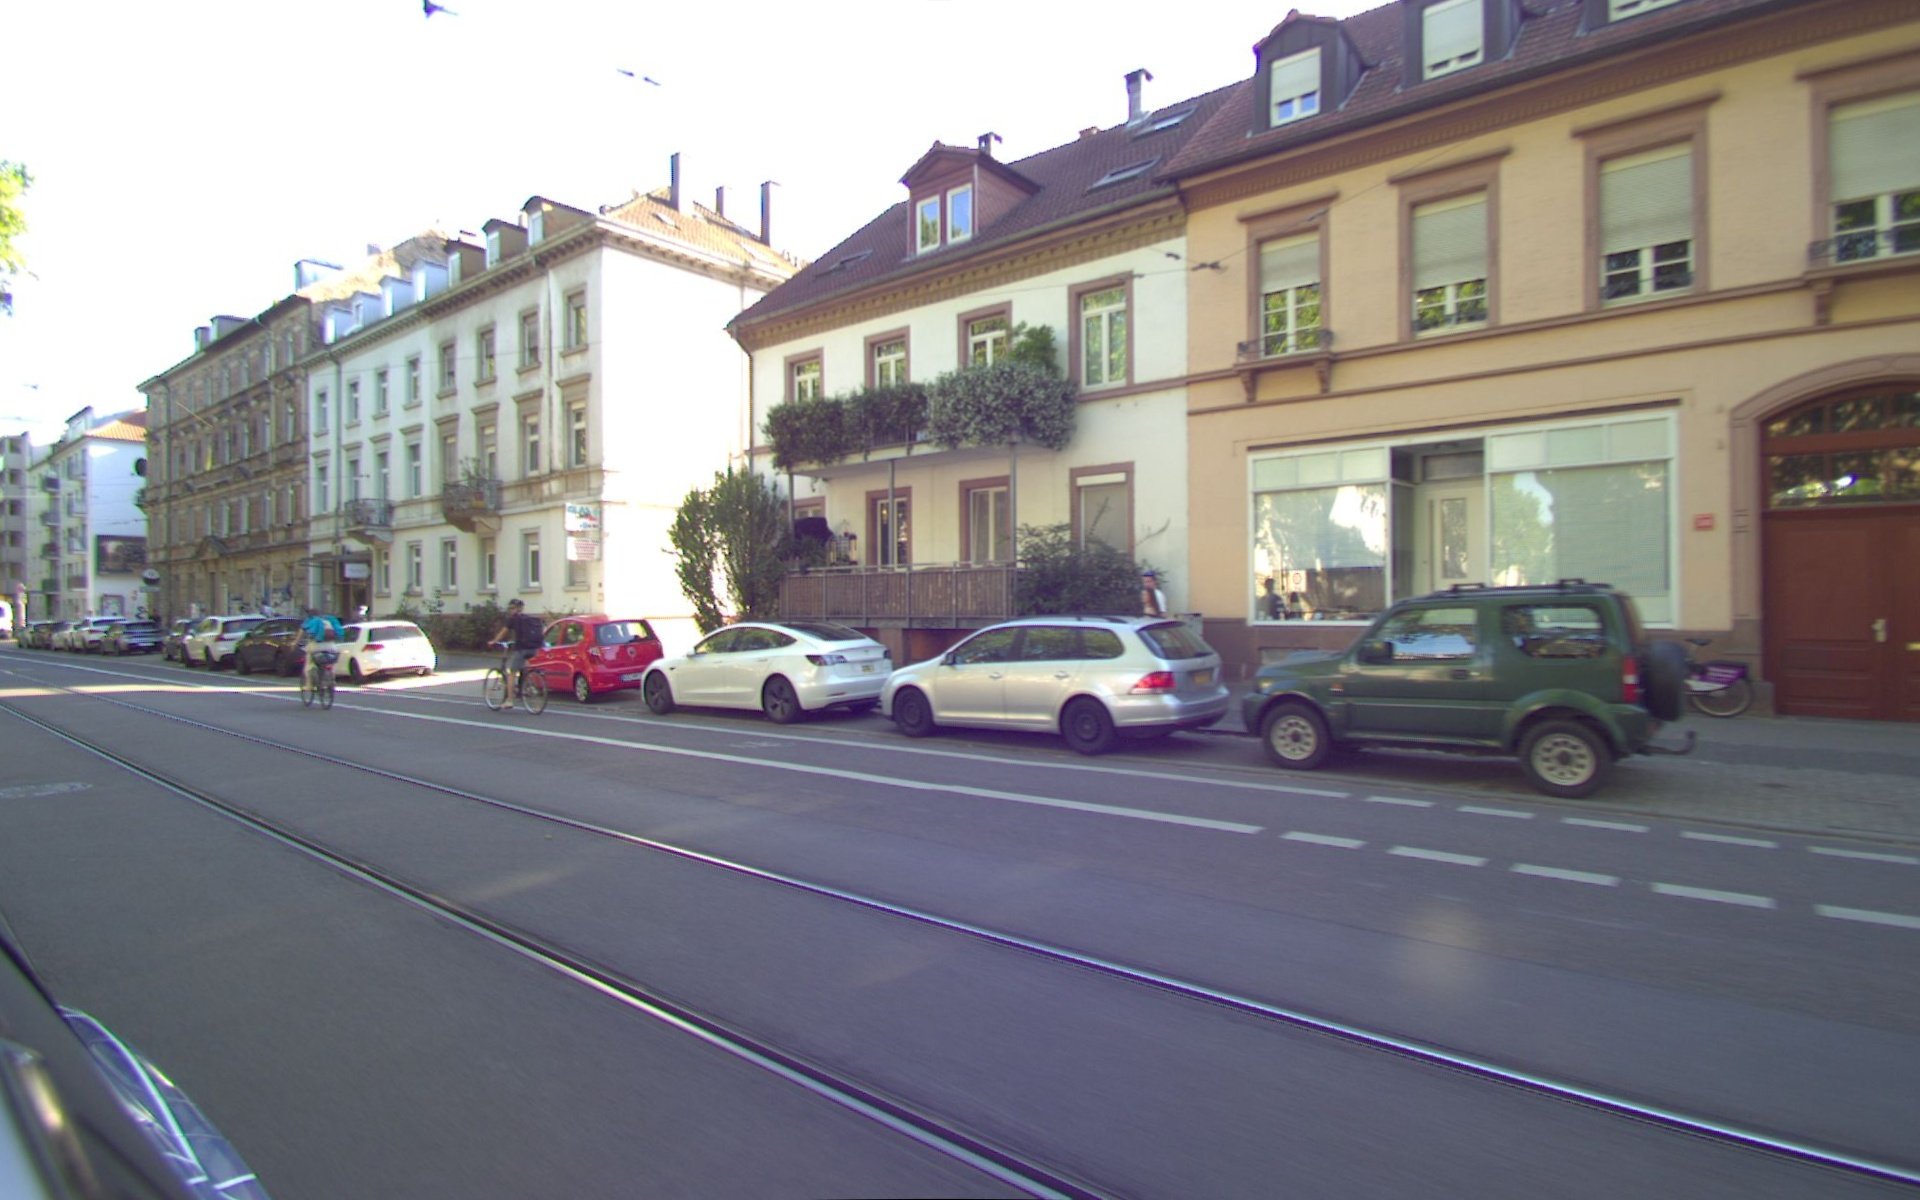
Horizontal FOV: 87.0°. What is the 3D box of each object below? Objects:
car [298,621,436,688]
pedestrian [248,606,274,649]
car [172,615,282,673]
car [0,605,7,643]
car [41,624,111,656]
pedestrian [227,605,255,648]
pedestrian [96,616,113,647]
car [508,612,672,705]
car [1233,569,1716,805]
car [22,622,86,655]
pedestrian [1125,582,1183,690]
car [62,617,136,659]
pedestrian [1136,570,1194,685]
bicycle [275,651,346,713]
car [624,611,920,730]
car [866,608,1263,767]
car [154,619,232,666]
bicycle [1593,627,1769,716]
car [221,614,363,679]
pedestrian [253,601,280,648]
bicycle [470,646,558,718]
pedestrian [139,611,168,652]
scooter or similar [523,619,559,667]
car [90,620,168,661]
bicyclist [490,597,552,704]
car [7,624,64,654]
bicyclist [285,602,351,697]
[{"bbox_3d":[-15.094,1.327,25.673,4.254,1.488,1.670,-1,0,40],"label":"car"},{"bbox_3d":[-27.817,1.081,40.285,0.653,1.678,0.771,-1,0,-18],"label":"pedestrian"},{"bbox_3d":[-23.443,1.349,32.314,4.760,1.716,1.837,-1,-1,41],"label":"car"},{"bbox_3d":[-66.585,1.652,68.847,5.665,2.555,2.043,-1,-1,42],"label":"car"},{"bbox_3d":[-42.753,1.914,48.940,3.992,1.431,1.684,-1,1,36],"label":"car"},{"bbox_3d":[-30.589,1.120,43.060,0.828,1.835,0.752,-1,-1,37],"label":"pedestrian"},{"bbox_3d":[-49.009,1.798,57.968,0.893,1.762,0.649,-3,-1,44],"label":"pedestrian"},{"bbox_3d":[-7.005,1.035,19.003,3.450,1.574,1.551,-1,-1,44],"label":"car"},{"bbox_3d":[4.568,0.659,9.258,3.682,1.745,1.540,-1,0,39],"label":"car"},{"bbox_3d":[-46.770,1.945,52.218,4.781,1.574,1.724,-1,1,39],"label":"car"},{"bbox_3d":[2.738,0.491,14.253,0.653,1.471,0.632,-1,0,24],"label":"pedestrian"},{"bbox_3d":[-38.840,1.681,45.613,4.715,1.736,1.768,-1,1,40],"label":"car"},{"bbox_3d":[3.025,0.390,14.893,0.653,1.646,0.768,-1,0,24],"label":"pedestrian"},{"bbox_3d":[-10.866,1.338,16.900,1.921,0.950,0.493,-1,-3,42],"label":"bicycle"},{"bbox_3d":[-2.994,0.982,15.503,4.682,1.514,1.810,-1,0,38],"label":"car"},{"bbox_3d":[1.111,0.906,12.096,4.445,1.514,1.809,-1,0,40],"label":"car"},{"bbox_3d":[-26.977,1.456,35.550,3.923,1.527,1.537,-1,-1,43],"label":"car"},{"bbox_3d":[8.776,0.843,12.368,1.722,1.022,0.295,-1,-1,41],"label":"bicycle"},{"bbox_3d":[-19.107,1.280,28.892,4.648,1.716,1.840,-1,-1,35],"label":"car"},{"bbox_3d":[-30.026,1.060,43.823,0.829,2.029,0.752,-1,-1,38],"label":"pedestrian"},{"bbox_3d":[-7.122,1.279,16.109,2.039,1.055,0.479,-1,-3,42],"label":"bicycle"},{"bbox_3d":[-36.542,1.442,45.864,1.053,1.814,0.678,-1,0,31],"label":"pedestrian"},{"bbox_3d":[-11.612,1.186,28.026,0.441,1.290,1.577,0,-1,-41],"label":"scooter or similar"},{"bbox_3d":[-34.537,1.649,42.052,4.059,1.532,1.647,-1,1,38],"label":"car"},{"bbox_3d":[-6.933,0.785,15.972,0.896,1.647,0.529,-1,-3,42],"label":"bicyclist"},{"bbox_3d":[-50.769,2.091,55.561,4.040,1.503,1.724,-1,1,39],"label":"car"},{"bbox_3d":[-10.682,0.807,16.825,1.069,1.515,0.631,-1,-2,41],"label":"bicyclist"}]
